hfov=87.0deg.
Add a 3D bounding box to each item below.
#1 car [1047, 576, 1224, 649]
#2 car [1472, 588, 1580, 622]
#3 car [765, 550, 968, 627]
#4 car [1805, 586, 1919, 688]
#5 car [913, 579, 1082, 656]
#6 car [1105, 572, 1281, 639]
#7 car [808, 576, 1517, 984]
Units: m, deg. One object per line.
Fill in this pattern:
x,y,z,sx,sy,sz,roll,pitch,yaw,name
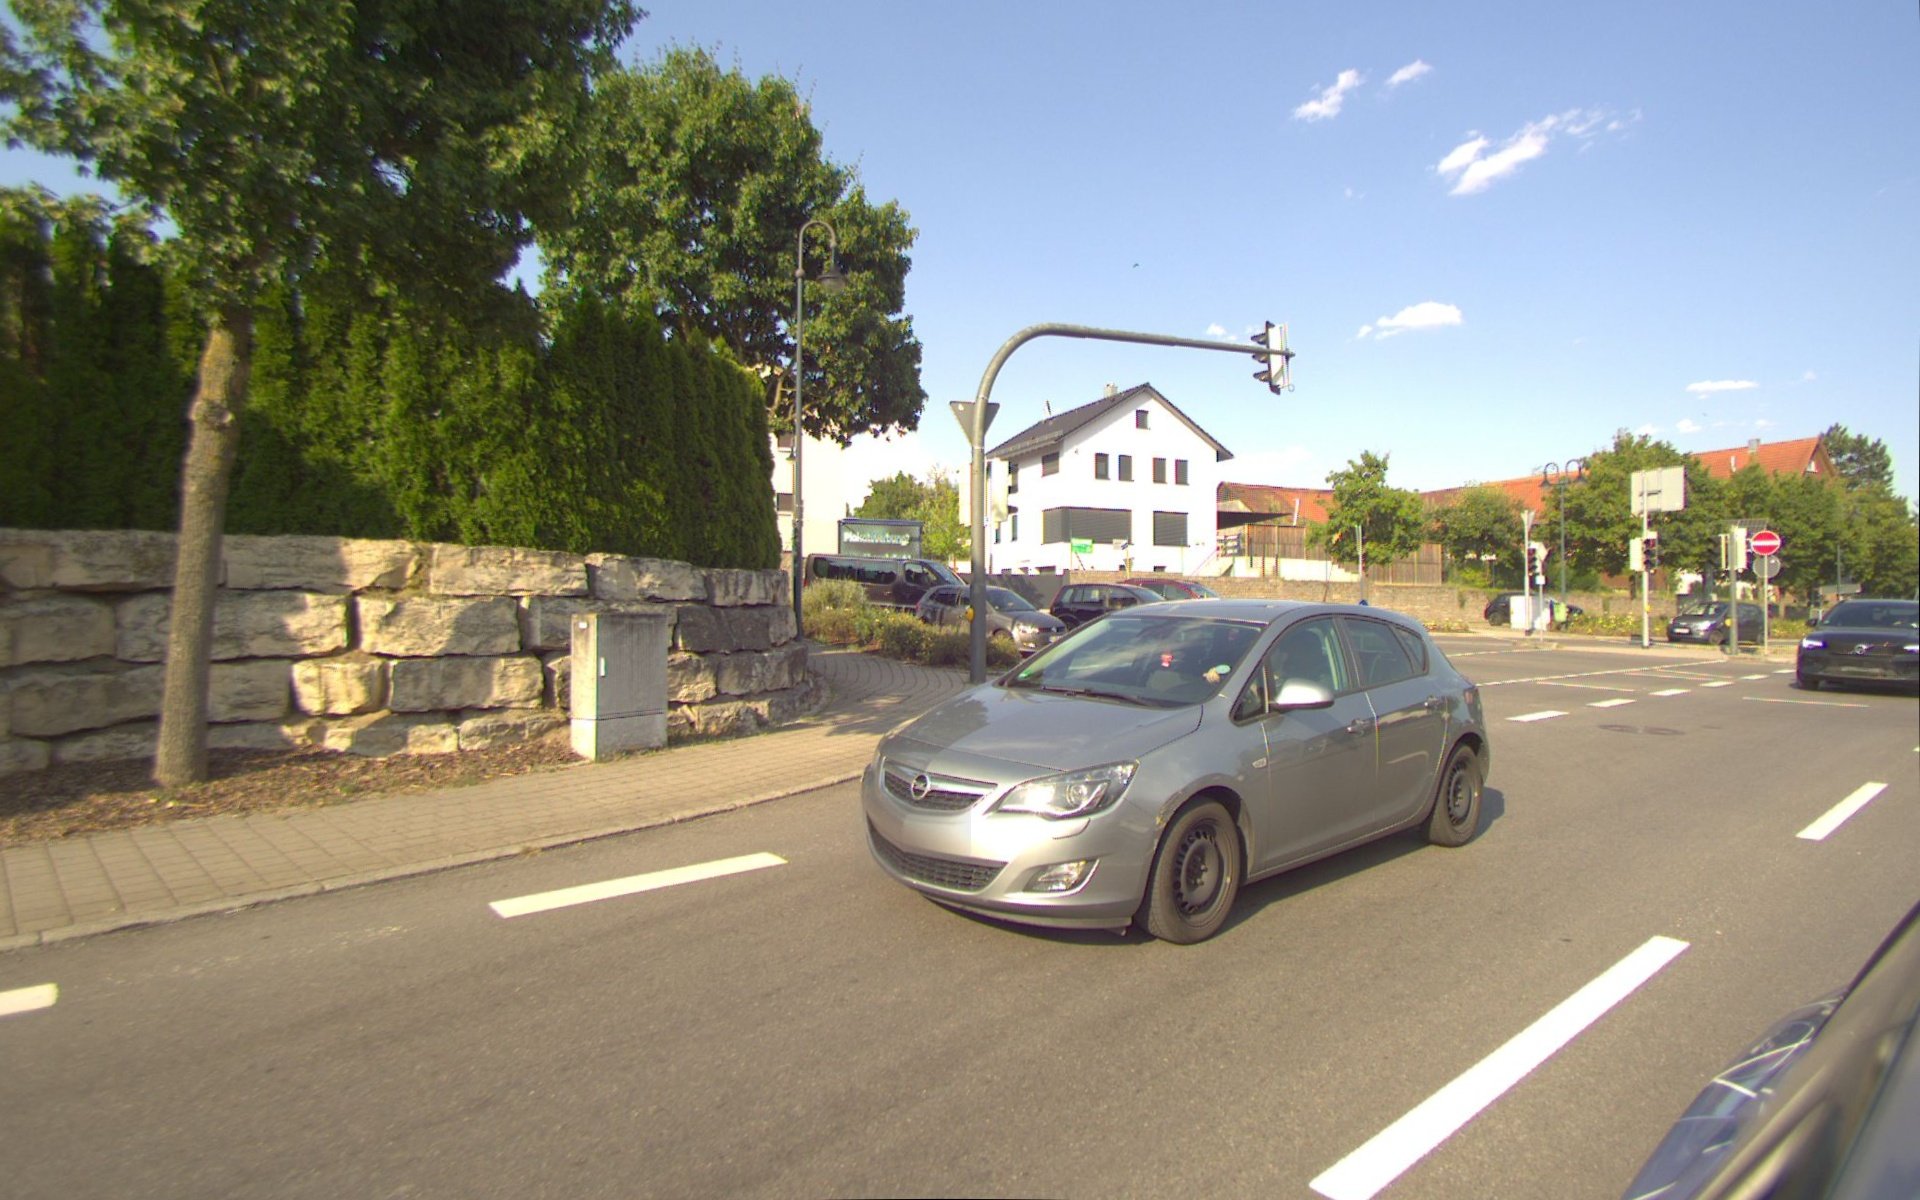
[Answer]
4.006,0.228,23.422,3.783,1.561,1.575,1,1,42,car
25.763,0.198,46.190,1.644,1.475,4.085,1,0,-28,car
-2.517,-0.335,27.486,5.106,1.956,1.990,1,0,16,car
16.482,0.611,17.862,3.985,1.626,1.791,1,0,-41,car
0.753,0.315,22.069,1.600,1.467,3.602,-1,3,-44,car
6.130,0.125,26.919,4.240,1.646,1.832,1,0,44,car
1.355,0.660,5.595,4.070,1.440,1.651,1,1,-40,car
